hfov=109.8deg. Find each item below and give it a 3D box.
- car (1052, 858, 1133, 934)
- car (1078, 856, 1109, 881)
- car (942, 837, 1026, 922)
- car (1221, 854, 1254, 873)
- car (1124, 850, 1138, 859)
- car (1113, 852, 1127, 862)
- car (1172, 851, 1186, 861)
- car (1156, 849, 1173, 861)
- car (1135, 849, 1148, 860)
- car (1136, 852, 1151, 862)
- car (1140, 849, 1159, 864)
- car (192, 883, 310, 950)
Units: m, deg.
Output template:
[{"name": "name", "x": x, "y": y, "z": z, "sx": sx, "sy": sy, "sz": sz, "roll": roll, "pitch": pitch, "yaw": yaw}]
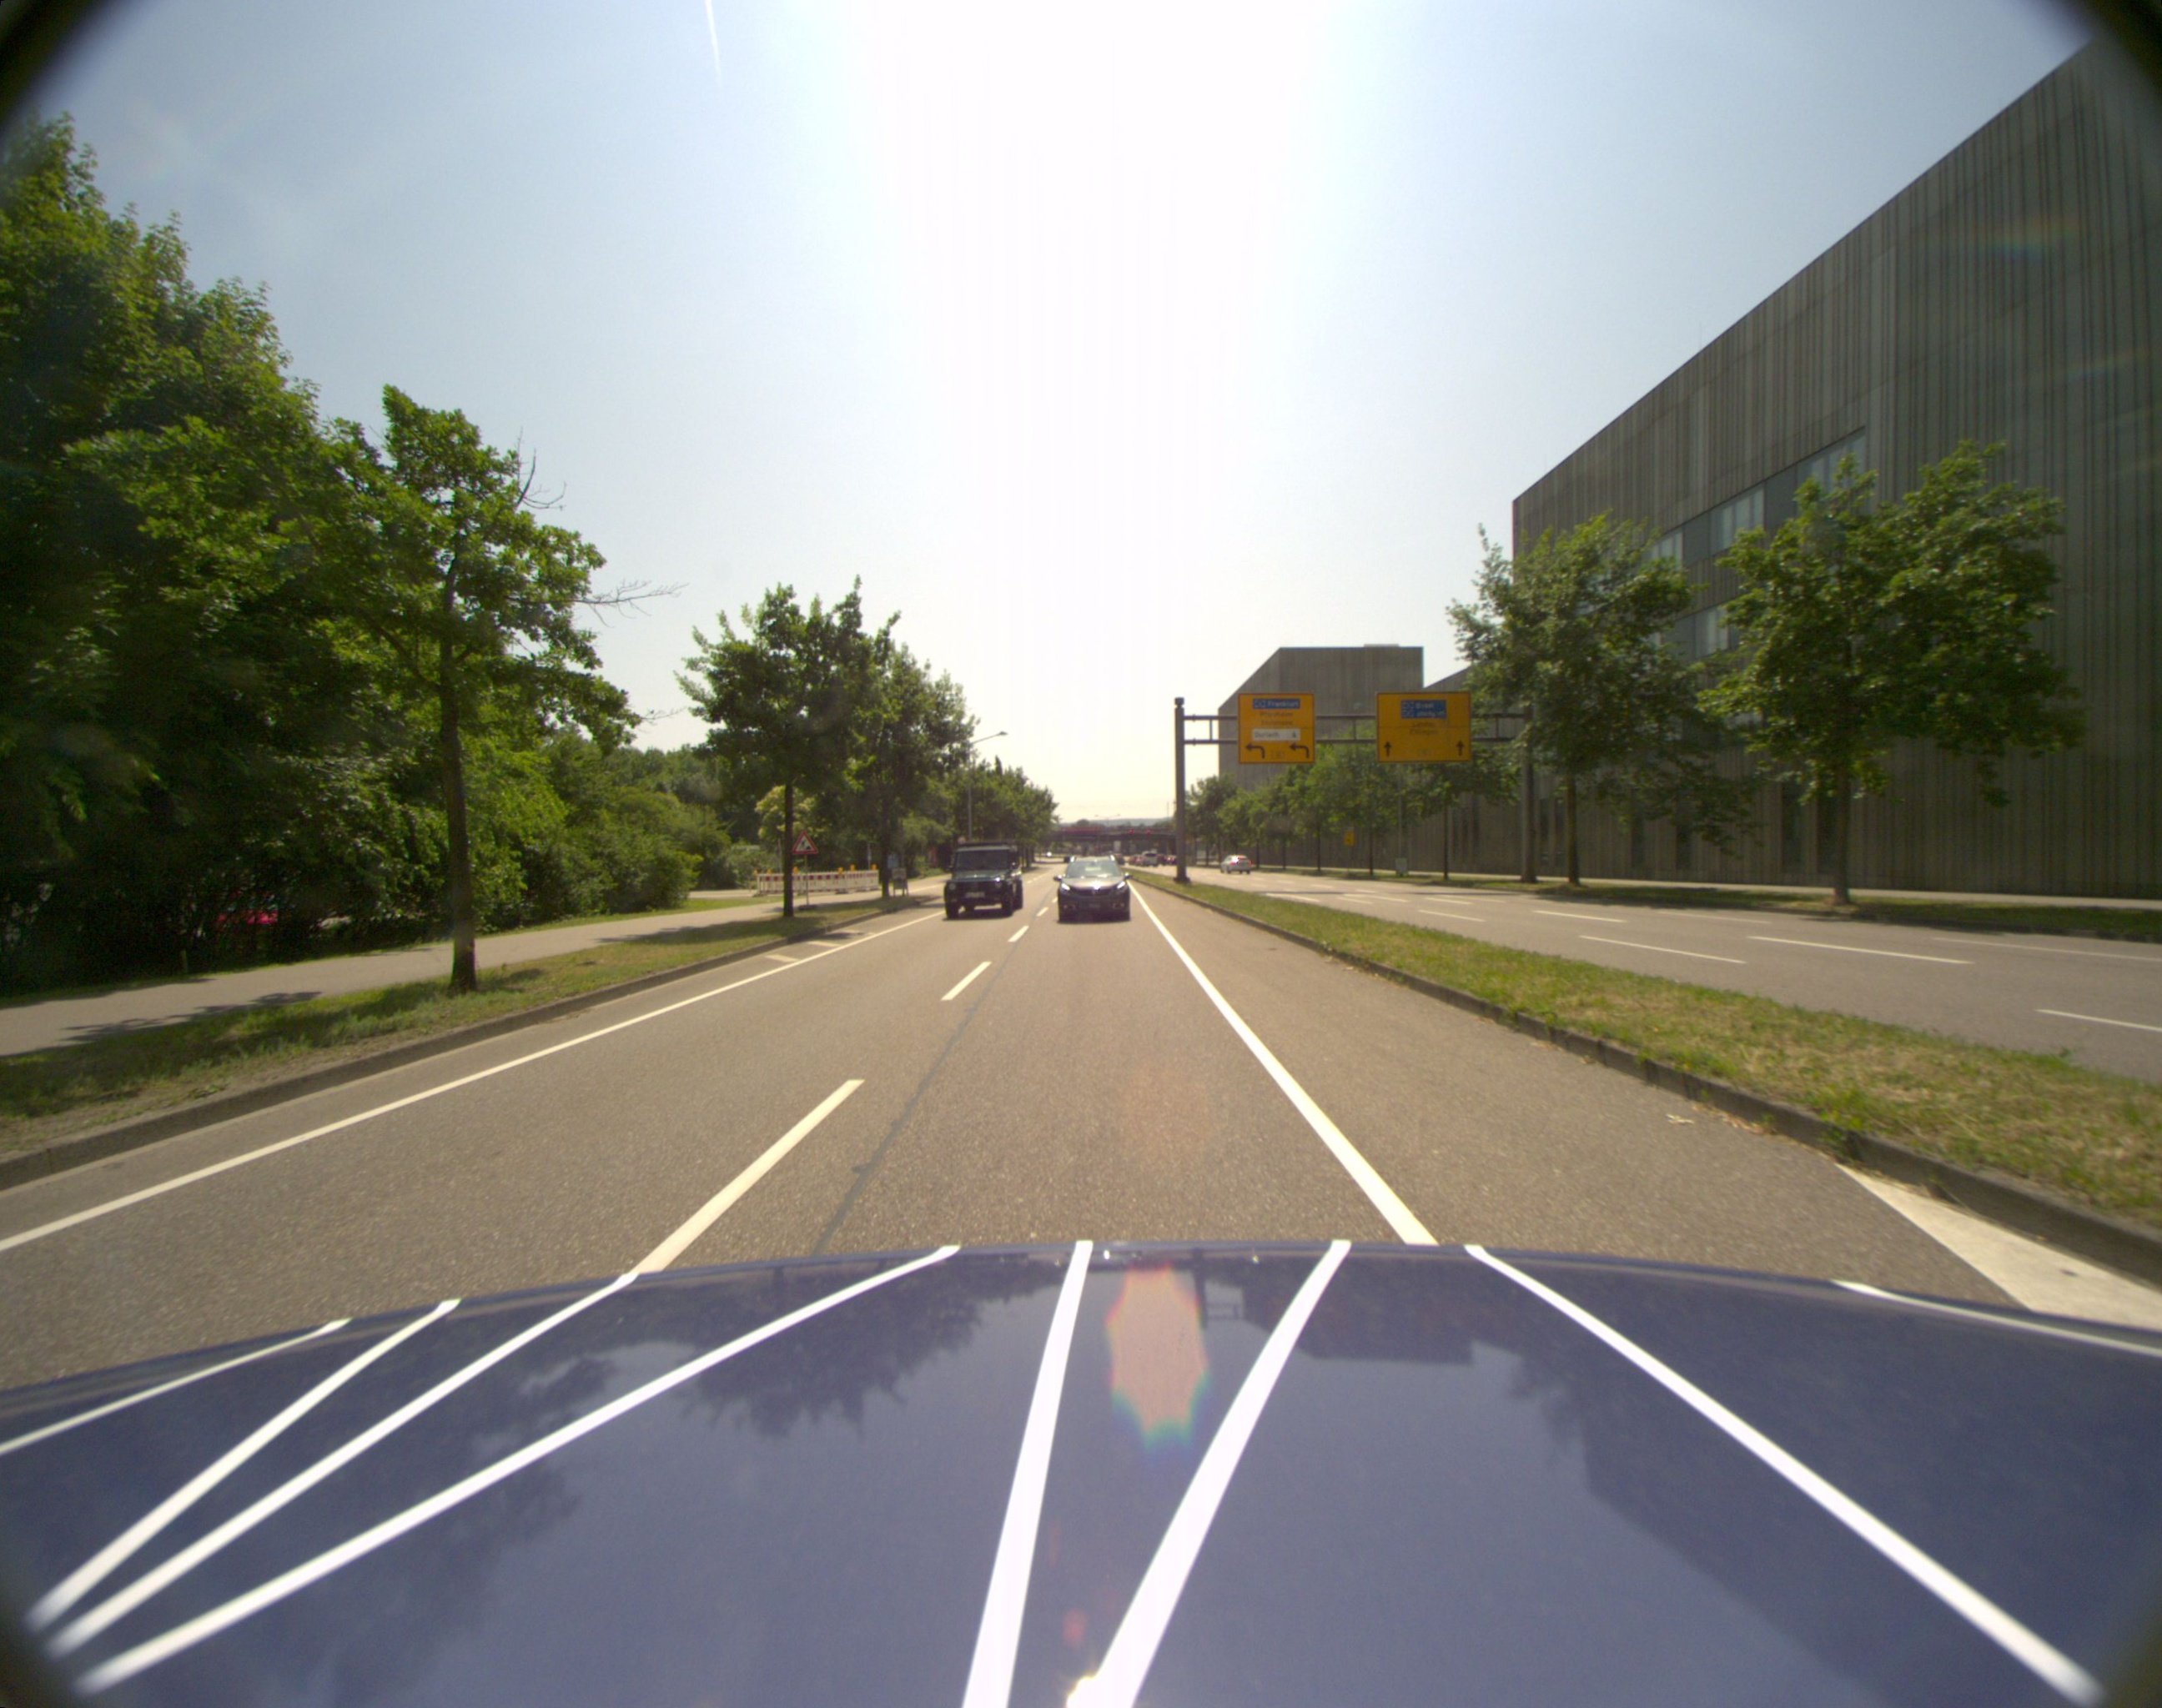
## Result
[{"name": "car", "x": 0.316, "y": 0.898, "z": 18.146, "sx": 1.619, "sy": 1.502, "sz": 4.459, "roll": -3, "pitch": 0, "yaw": 2}, {"name": "car", "x": 0.754, "y": 0.885, "z": 47.909, "sx": 1.817, "sy": 1.456, "sz": 3.999, "roll": -1, "pitch": 0, "yaw": 0}, {"name": "car", "x": -2.646, "y": 0.640, "z": 21.796, "sx": 1.841, "sy": 2.141, "sz": 4.557, "roll": -1, "pitch": 1, "yaw": -1}, {"name": "car", "x": 12.552, "y": 0.738, "z": 61.147, "sx": 1.815, "sy": 1.419, "sz": 4.358, "roll": 0, "pitch": 0, "yaw": 0}, {"name": "car", "x": 8.144, "y": 0.067, "z": 123.480, "sx": 1.815, "sy": 1.437, "sz": 4.249, "roll": 0, "pitch": 0, "yaw": -2}, {"name": "car", "x": 6.002, "y": 0.416, "z": 117.265, "sx": 1.815, "sy": 1.458, "sz": 4.057, "roll": -1, "pitch": 0, "yaw": 0}, {"name": "car", "x": 15.166, "y": 0.252, "z": 117.814, "sx": 1.625, "sy": 1.447, "sz": 4.017, "roll": -1, "pitch": 0, "yaw": 0}, {"name": "car", "x": 12.750, "y": 0.165, "z": 116.355, "sx": 1.815, "sy": 1.736, "sz": 4.645, "roll": -1, "pitch": 0, "yaw": -2}, {"name": "car", "x": 9.269, "y": 0.121, "z": 116.737, "sx": 1.807, "sy": 1.653, "sz": 4.573, "roll": 0, "pitch": 0, "yaw": 2}, {"name": "car", "x": 8.815, "y": 0.429, "z": 107.451, "sx": 1.770, "sy": 1.452, "sz": 4.144, "roll": 0, "pitch": 0, "yaw": -1}, {"name": "car", "x": 9.066, "y": 0.341, "z": 100.271, "sx": 1.914, "sy": 1.981, "sz": 4.896, "roll": 0, "pitch": 0, "yaw": -2}, {"name": "car", "x": -24.109, "y": 1.729, "z": 22.045, "sx": 3.989, "sy": 1.652, "sz": 1.883, "roll": -1, "pitch": 0, "yaw": 37}]
